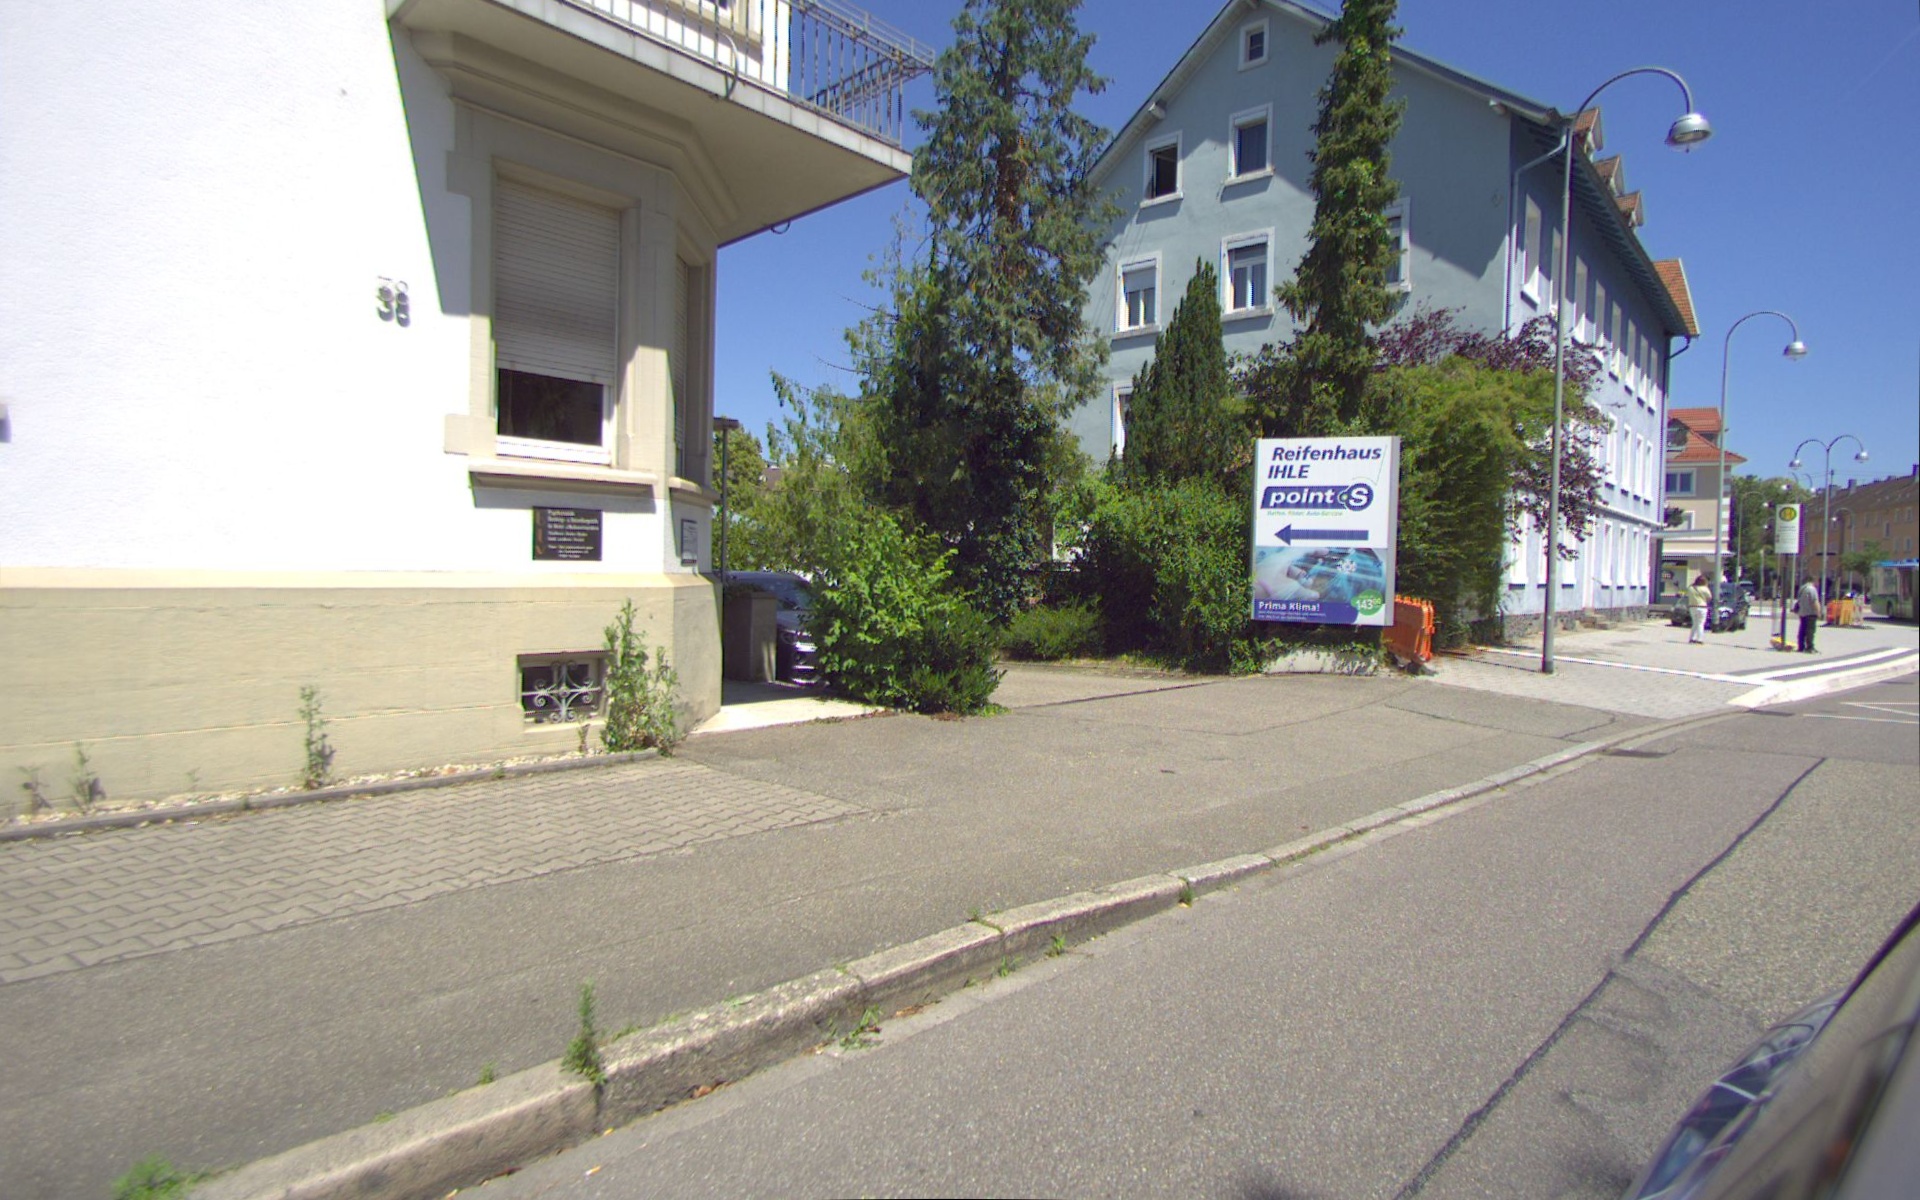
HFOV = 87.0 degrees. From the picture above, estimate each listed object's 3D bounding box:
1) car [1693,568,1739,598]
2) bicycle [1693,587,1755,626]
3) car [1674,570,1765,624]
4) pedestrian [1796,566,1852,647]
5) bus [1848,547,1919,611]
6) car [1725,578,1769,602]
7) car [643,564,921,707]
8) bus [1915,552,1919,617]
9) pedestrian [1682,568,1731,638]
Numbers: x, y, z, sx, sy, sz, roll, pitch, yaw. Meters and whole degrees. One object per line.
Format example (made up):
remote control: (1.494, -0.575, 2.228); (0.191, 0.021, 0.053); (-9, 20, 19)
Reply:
car: (66.969, -1.539, 89.701); (2.322, 2.486, 5.677); (4, 3, 29)
bicycle: (22.362, 0.199, 29.616); (1.845, 1.051, 0.635); (1, 4, -27)
car: (24.669, -0.133, 32.819); (1.760, 1.531, 3.681); (7, 6, 45)
pedestrian: (20.427, 0.143, 23.931); (0.744, 1.826, 0.609); (6, 5, 30)
bus: (50.687, -1.043, 53.753); (2.906, 3.100, 12.428); (0, 0, 30)
car: (55.097, -0.714, 70.926); (1.812, 1.427, 3.959); (4, 5, 30)
car: (-2.478, 0.384, 13.426); (1.768, 1.612, 3.991); (0, 0, -43)
bus: (44.650, -0.701, 42.910); (2.886, 3.119, 12.436); (1, 0, 28)
pedestrian: (17.969, 0.063, 24.365); (0.735, 1.635, 0.617); (1, 3, -29)
